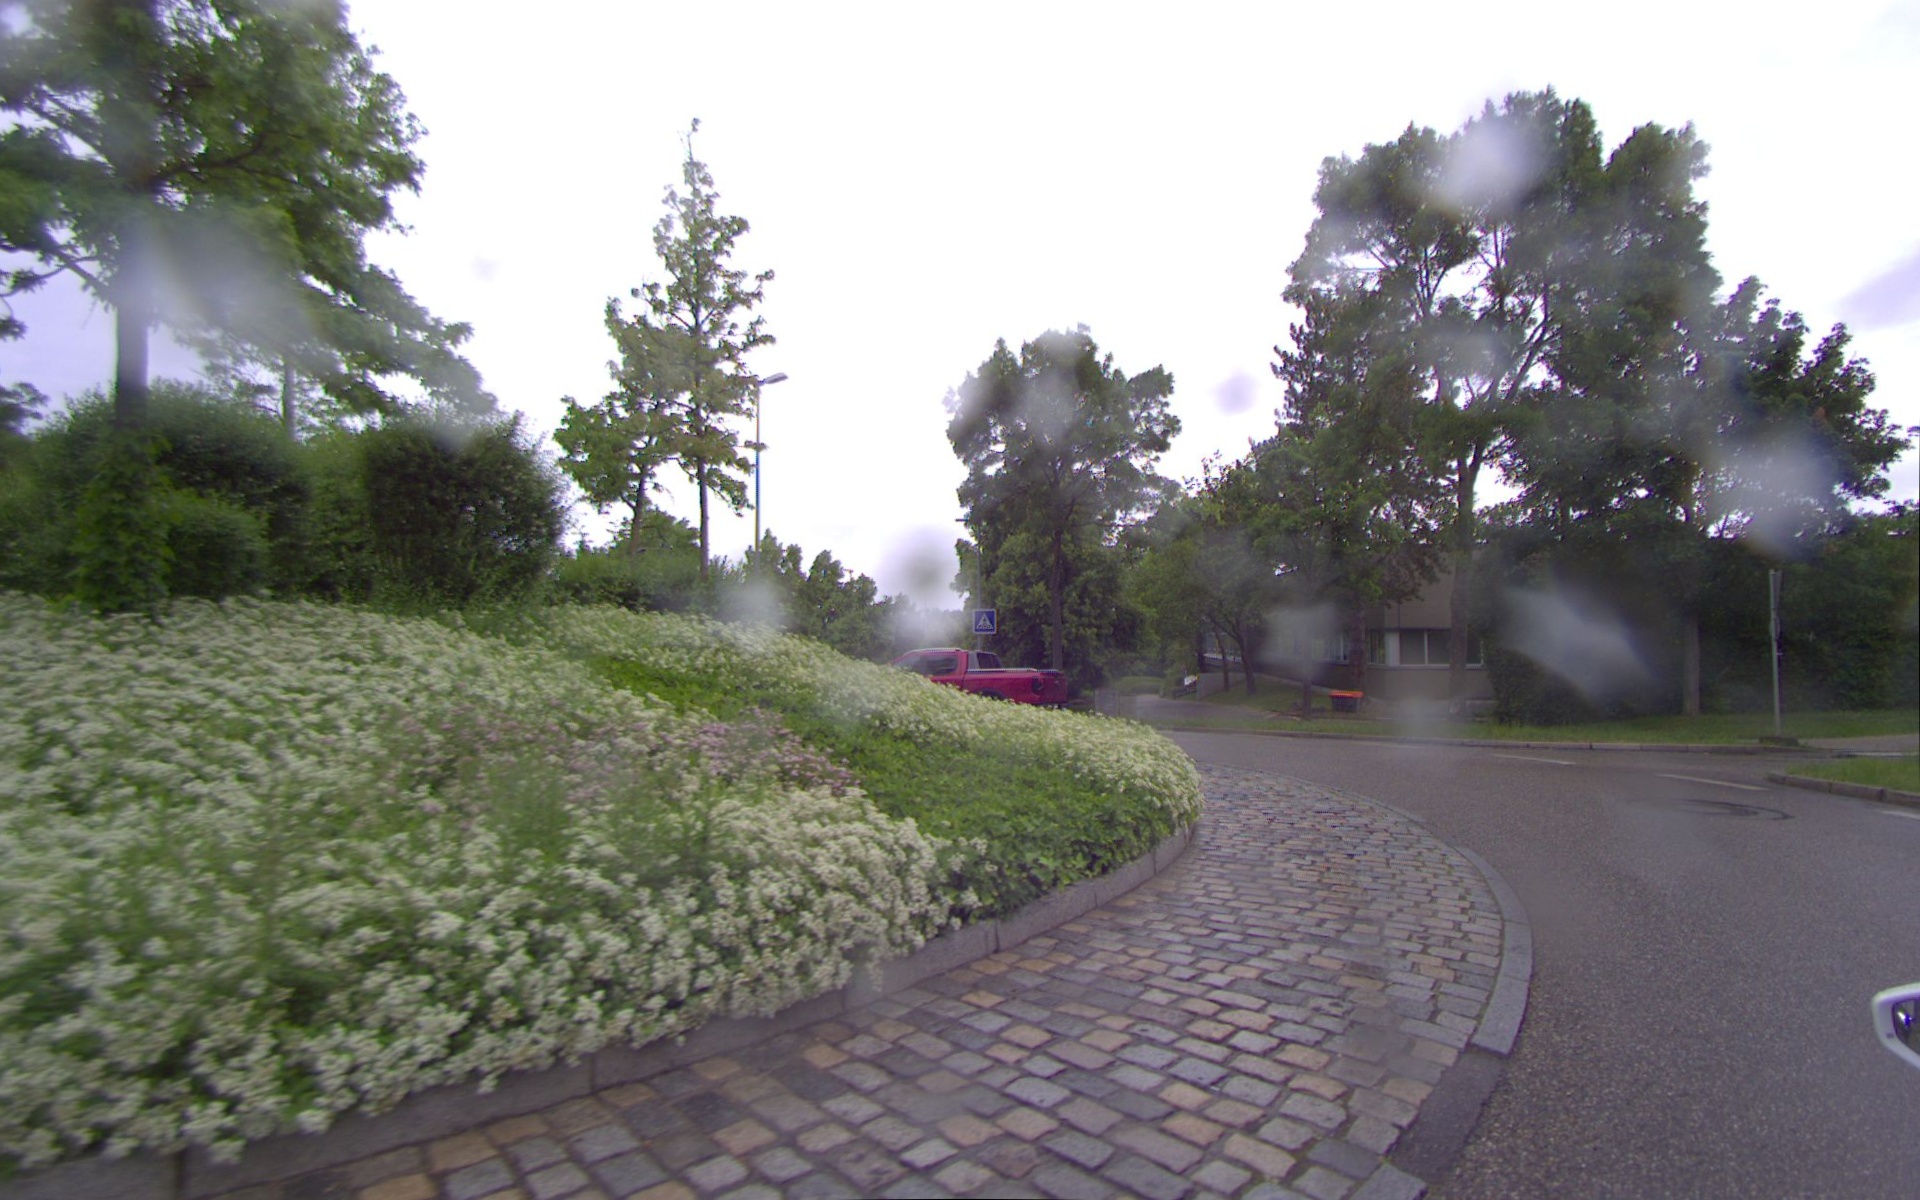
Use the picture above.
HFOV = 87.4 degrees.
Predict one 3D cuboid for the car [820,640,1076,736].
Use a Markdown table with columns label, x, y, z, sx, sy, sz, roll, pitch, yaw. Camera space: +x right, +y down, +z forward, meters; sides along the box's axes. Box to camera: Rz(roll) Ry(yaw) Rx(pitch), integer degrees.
| label | x | y | z | sx | sy | sz | roll | pitch | yaw |
| --- | --- | --- | --- | --- | --- | --- | --- | --- | --- |
| car | -0.285 | 1.793 | 21.049 | 5.015 | 1.818 | 1.999 | -2 | -3 | 25 |
